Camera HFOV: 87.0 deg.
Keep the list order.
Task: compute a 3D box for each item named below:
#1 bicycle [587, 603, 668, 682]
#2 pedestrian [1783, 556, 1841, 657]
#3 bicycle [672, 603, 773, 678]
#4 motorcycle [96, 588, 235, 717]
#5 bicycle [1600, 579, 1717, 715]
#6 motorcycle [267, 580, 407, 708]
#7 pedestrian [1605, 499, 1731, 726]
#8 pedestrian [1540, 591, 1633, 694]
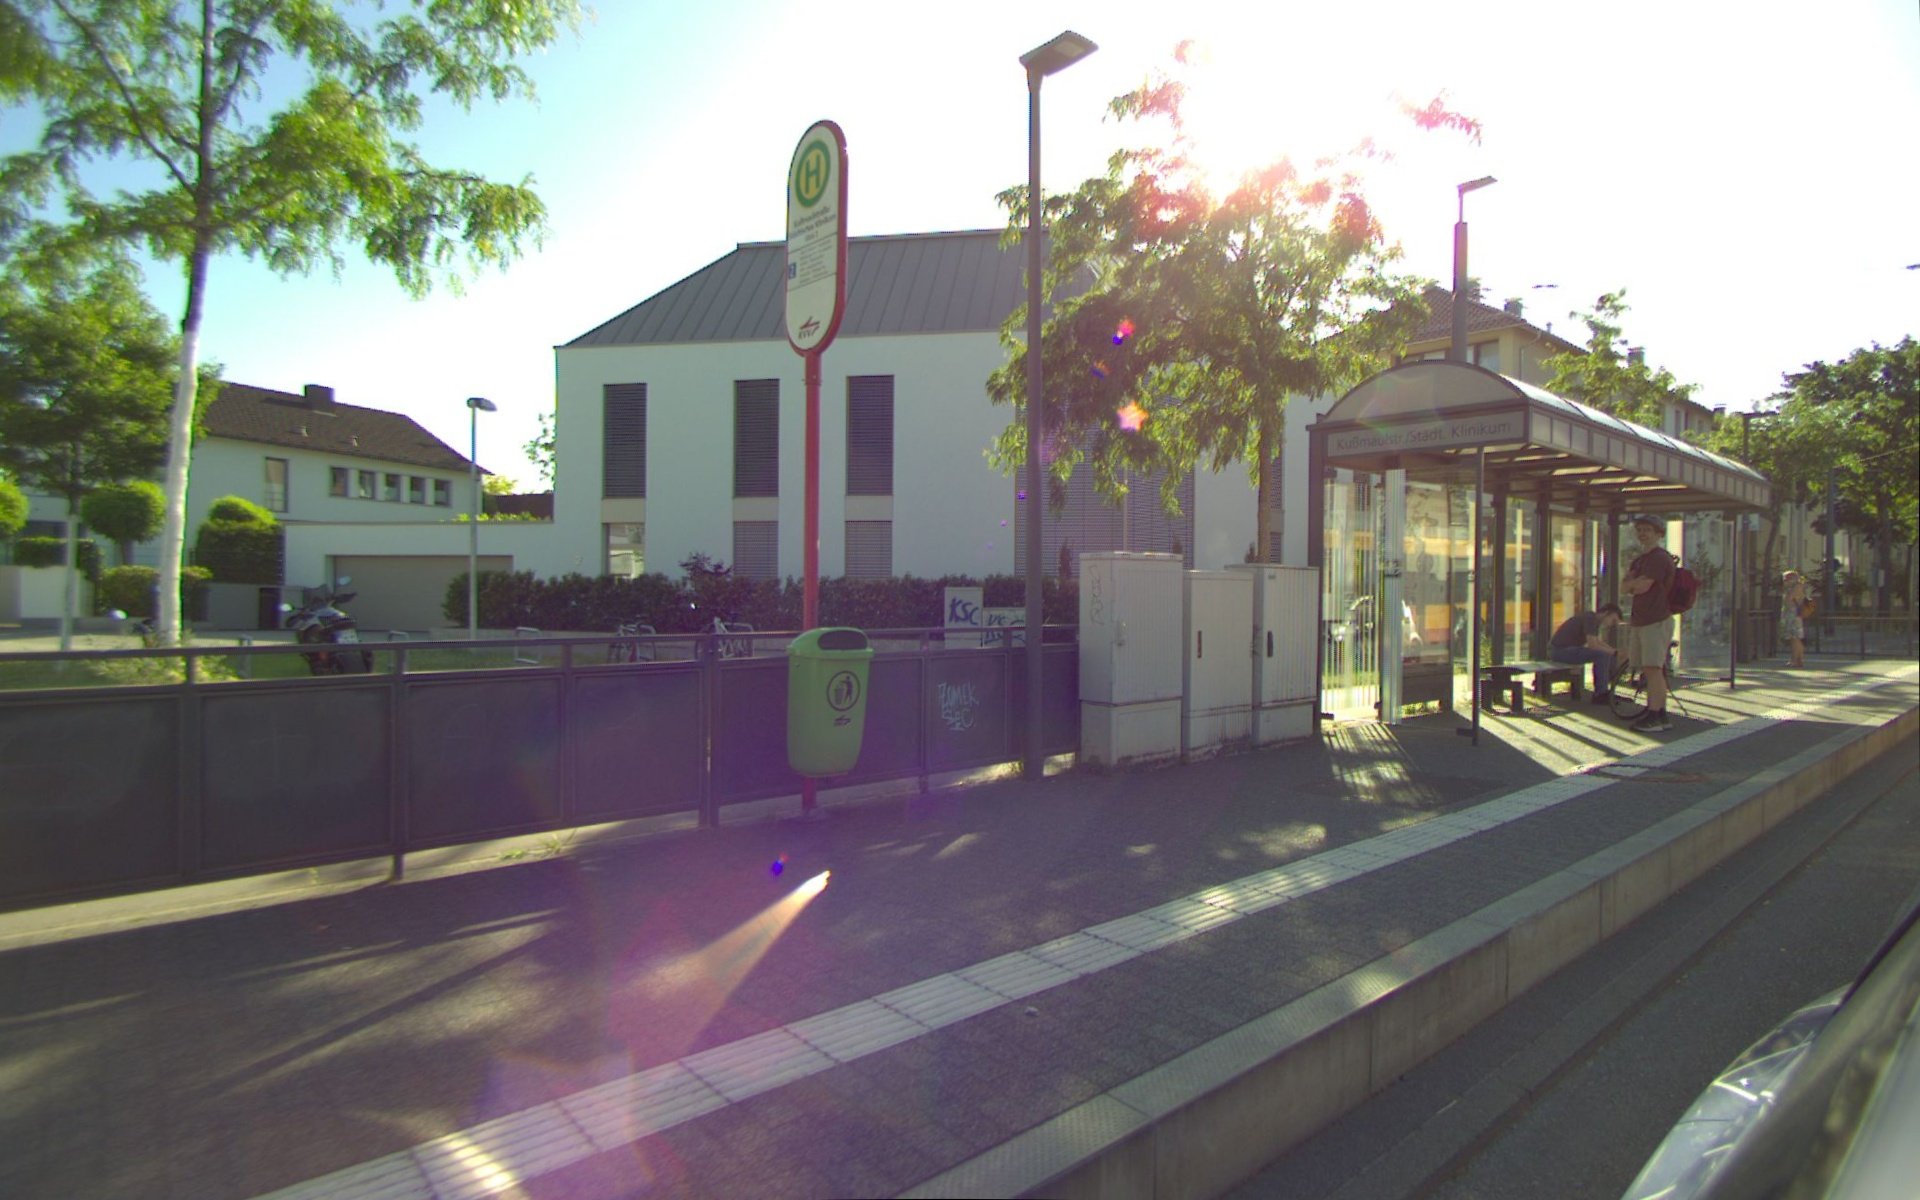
[{"bbox_3d":[-4.532,0.554,13.746,1.470,0.991,0.409,1,1,44],"label":"bicycle"},{"bbox_3d":[14.938,0.117,17.742,0.679,1.726,0.672,0,-1,-41],"label":"pedestrian"},{"bbox_3d":[-3.486,0.559,14.770,1.897,0.991,0.483,1,1,44],"label":"bicycle"},{"bbox_3d":[-8.139,0.473,10.336,1.998,1.172,0.848,1,1,44],"label":"motorcycle"},{"bbox_3d":[7.031,0.423,10.147,1.935,1.245,0.620,0,0,-45],"label":"bicycle"},{"bbox_3d":[-7.014,0.429,11.353,2.077,1.290,0.848,1,1,44],"label":"motorcycle"},{"bbox_3d":[6.206,0.105,8.876,0.716,1.877,0.712,0,-1,-39],"label":"pedestrian"},{"bbox_3d":[7.228,0.470,11.679,0.647,1.131,0.739,0,-1,-41],"label":"pedestrian"}]
